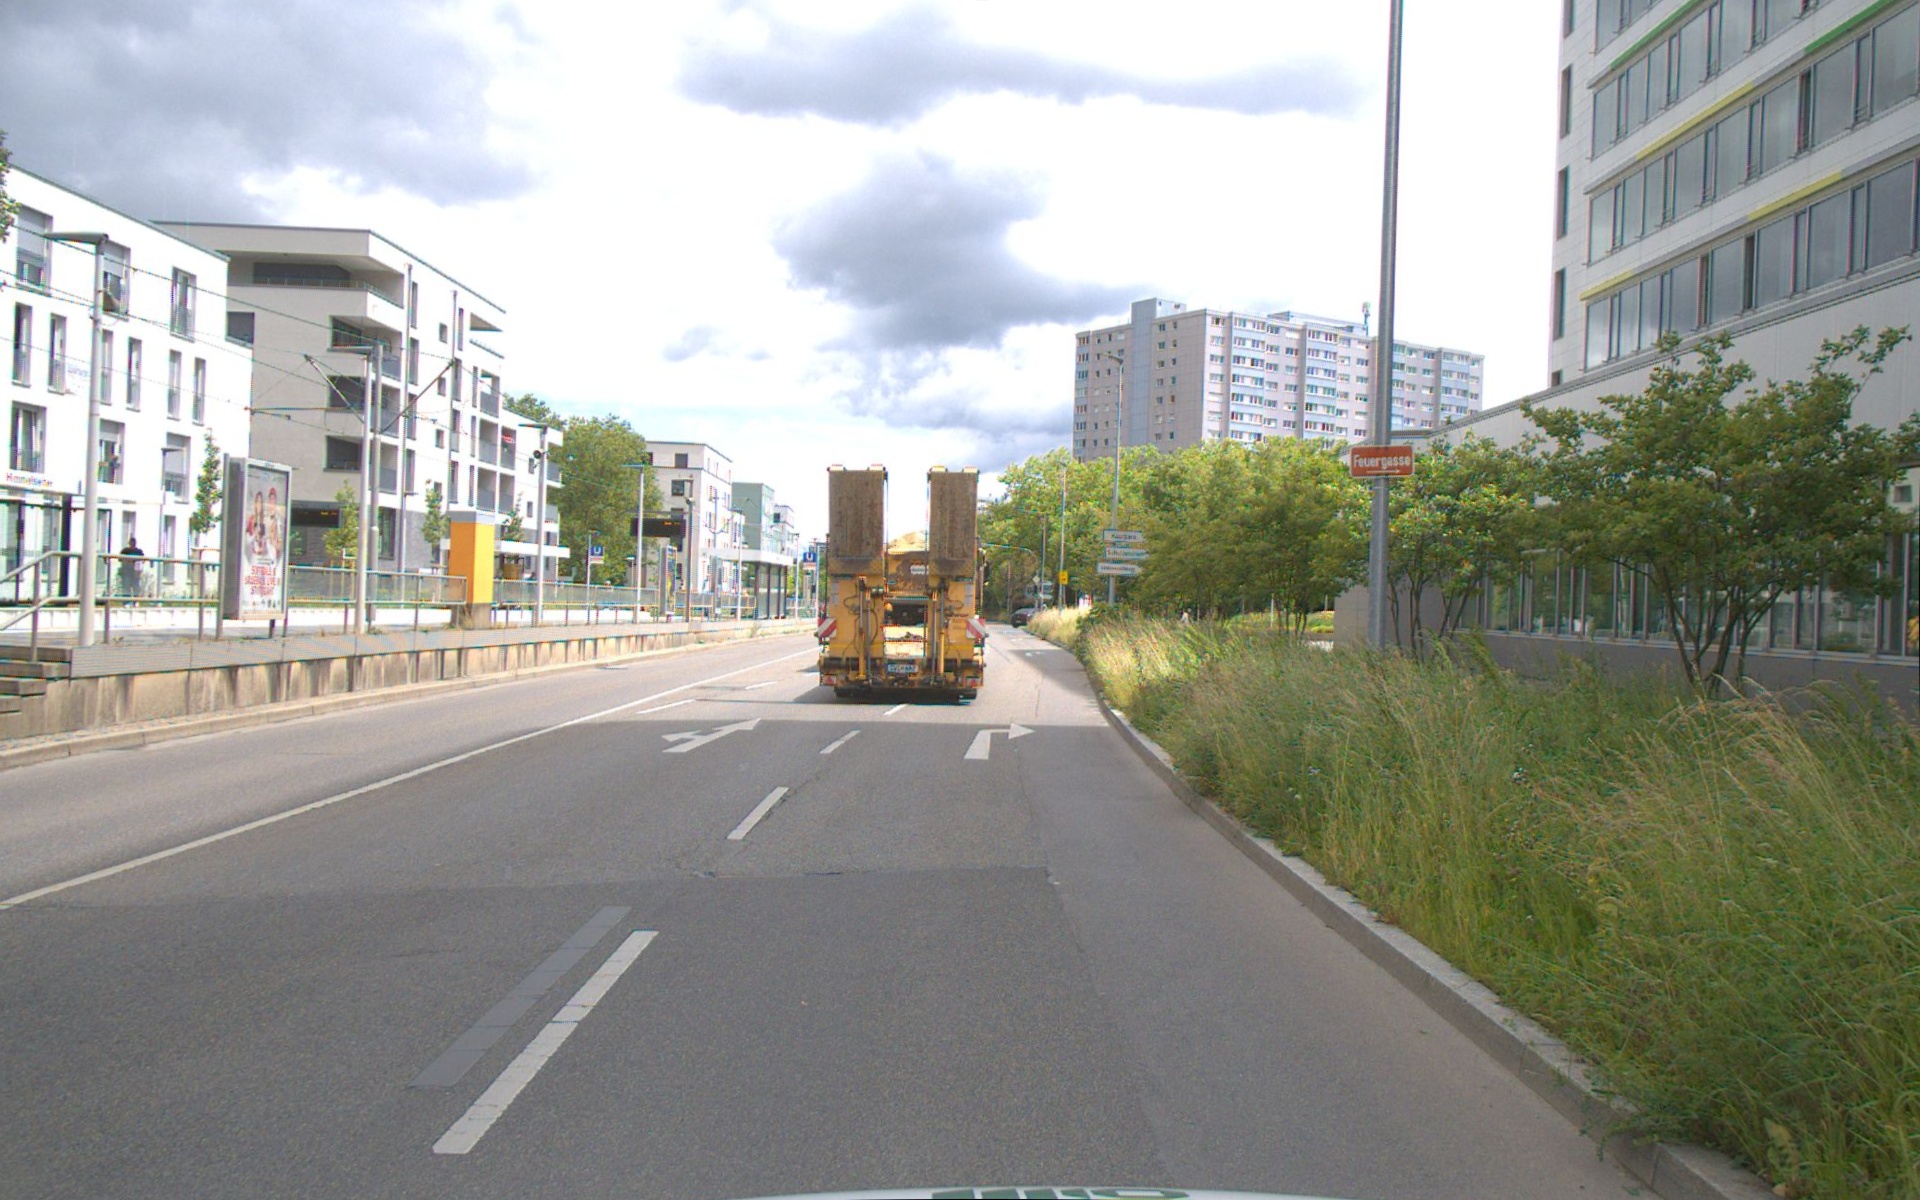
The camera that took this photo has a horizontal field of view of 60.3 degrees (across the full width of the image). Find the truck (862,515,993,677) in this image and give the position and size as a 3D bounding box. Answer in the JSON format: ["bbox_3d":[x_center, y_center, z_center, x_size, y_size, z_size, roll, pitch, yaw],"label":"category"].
[{"bbox_3d":[-0.666,-0.076,39.646,2.697,3.371,8.351,2,0,0],"label":"truck"}]

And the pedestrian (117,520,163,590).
[{"bbox_3d":[-18.943,-1.036,38.224,0.726,1.558,0.547,2,0,3],"label":"pedestrian"}]

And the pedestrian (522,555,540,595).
[{"bbox_3d":[-19.518,-1.122,75.217,0.550,1.796,0.678,2,0,2],"label":"pedestrian"}]

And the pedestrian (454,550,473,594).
[{"bbox_3d":[-19.838,-1.109,66.078,0.483,1.755,0.670,2,-1,-34],"label":"pedestrian"}]

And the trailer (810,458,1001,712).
[{"bbox_3d":[-0.742,-0.199,29.842,2.673,3.621,11.254,2,0,1],"label":"trailer"}]

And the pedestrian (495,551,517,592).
[{"bbox_3d":[-18.349,-1.165,66.899,0.479,1.624,0.675,1,-1,35],"label":"pedestrian"}]

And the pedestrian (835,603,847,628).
[{"bbox_3d":[-7.897,1.007,109.807,0.667,1.631,0.823,2,0,0],"label":"pedestrian"}]
